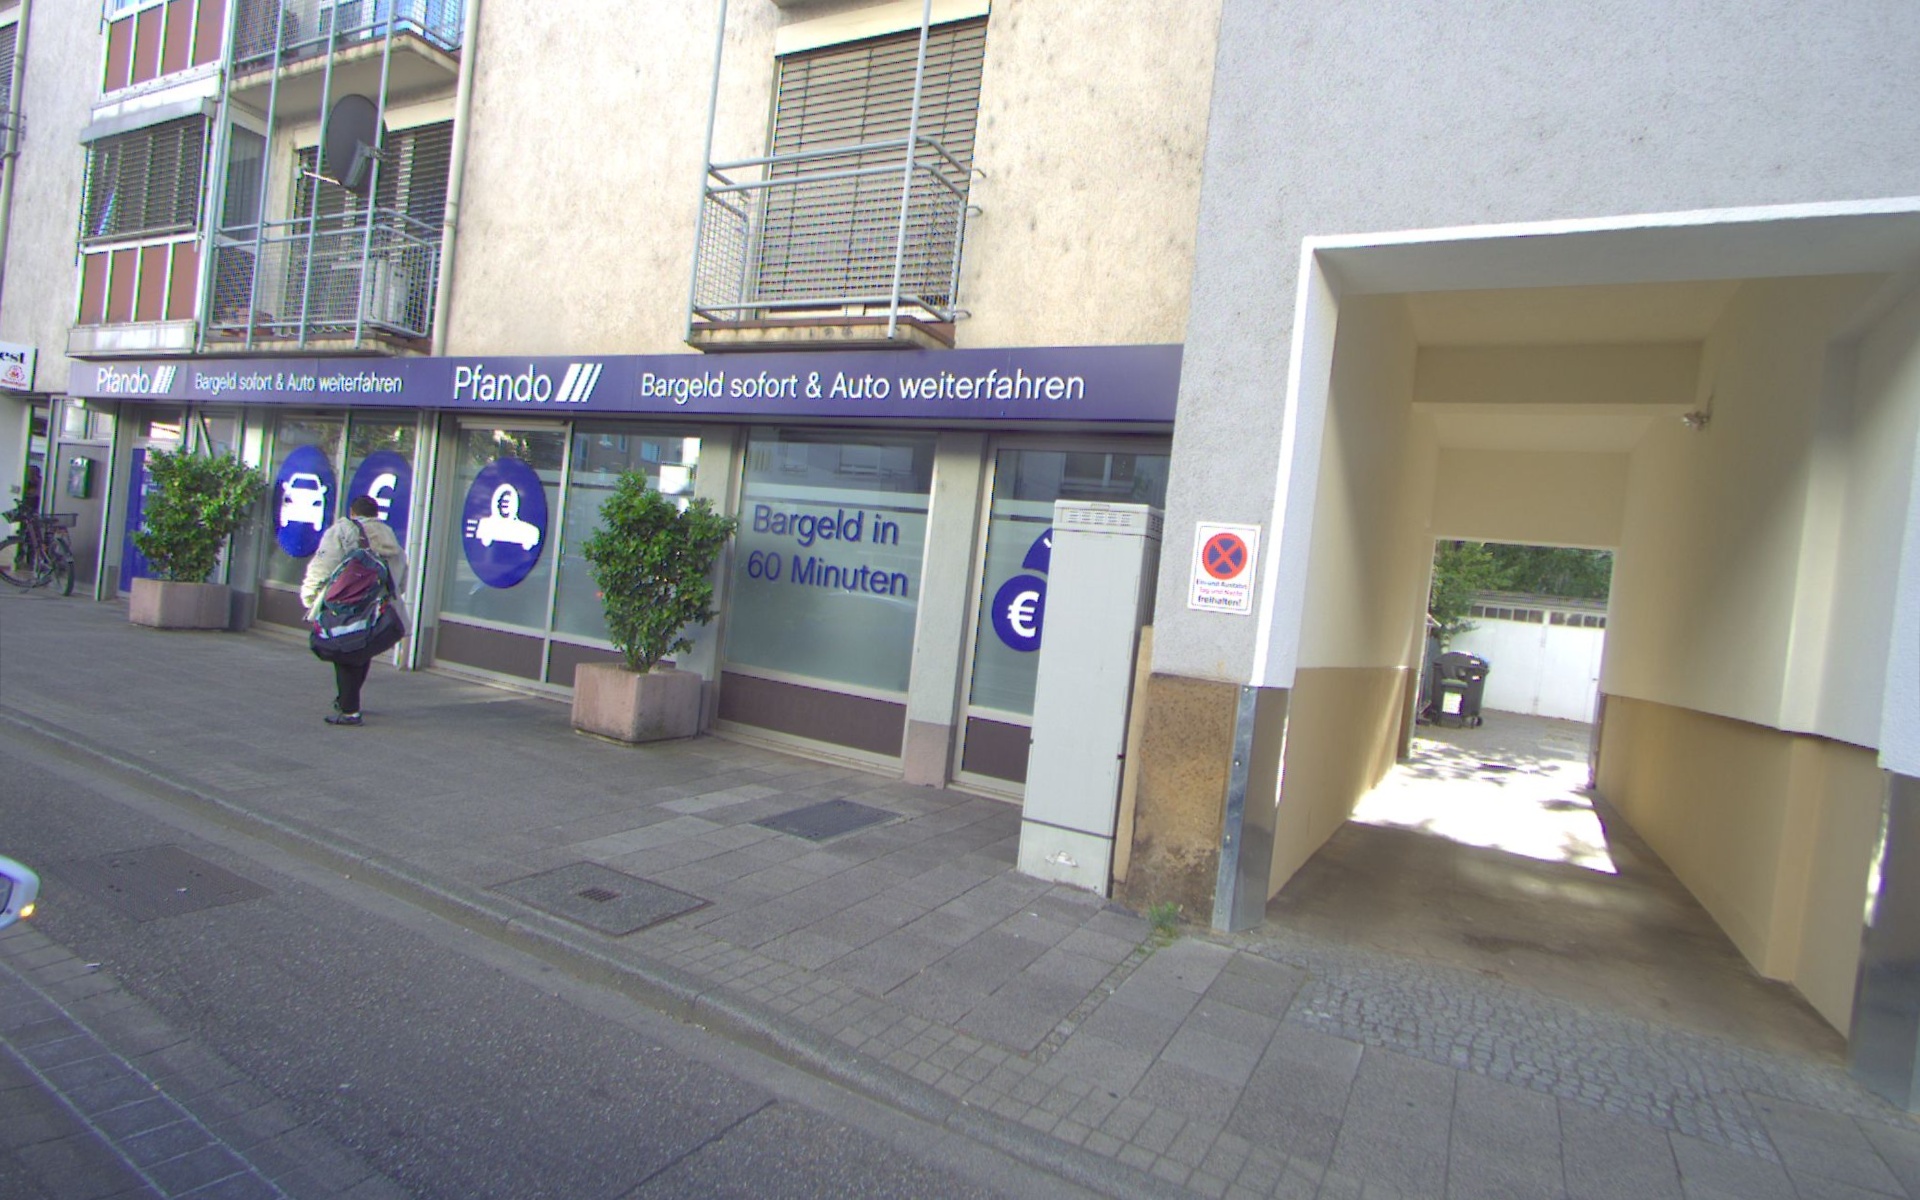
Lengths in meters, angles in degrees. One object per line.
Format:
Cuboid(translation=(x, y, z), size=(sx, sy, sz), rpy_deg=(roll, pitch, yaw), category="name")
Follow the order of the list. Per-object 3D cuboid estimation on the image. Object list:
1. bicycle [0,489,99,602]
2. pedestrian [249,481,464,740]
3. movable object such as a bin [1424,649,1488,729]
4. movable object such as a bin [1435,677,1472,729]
Cuboid(translation=(-11.850, -0.727, 12.880), size=(1.879, 1.280, 0.640), rpy_deg=(7, 1, 32), category="bicycle")
Cuboid(translation=(-4.139, 0.062, 6.923), size=(0.853, 1.593, 0.874), rpy_deg=(8, 3, 29), category="pedestrian")
Cuboid(translation=(10.105, 1.790, 20.460), size=(0.945, 1.426, 1.598), rpy_deg=(7, 1, 29), category="movable object such as a bin")
Cuboid(translation=(9.553, 1.982, 19.457), size=(0.518, 0.922, 0.580), rpy_deg=(7, 1, 29), category="movable object such as a bin")
